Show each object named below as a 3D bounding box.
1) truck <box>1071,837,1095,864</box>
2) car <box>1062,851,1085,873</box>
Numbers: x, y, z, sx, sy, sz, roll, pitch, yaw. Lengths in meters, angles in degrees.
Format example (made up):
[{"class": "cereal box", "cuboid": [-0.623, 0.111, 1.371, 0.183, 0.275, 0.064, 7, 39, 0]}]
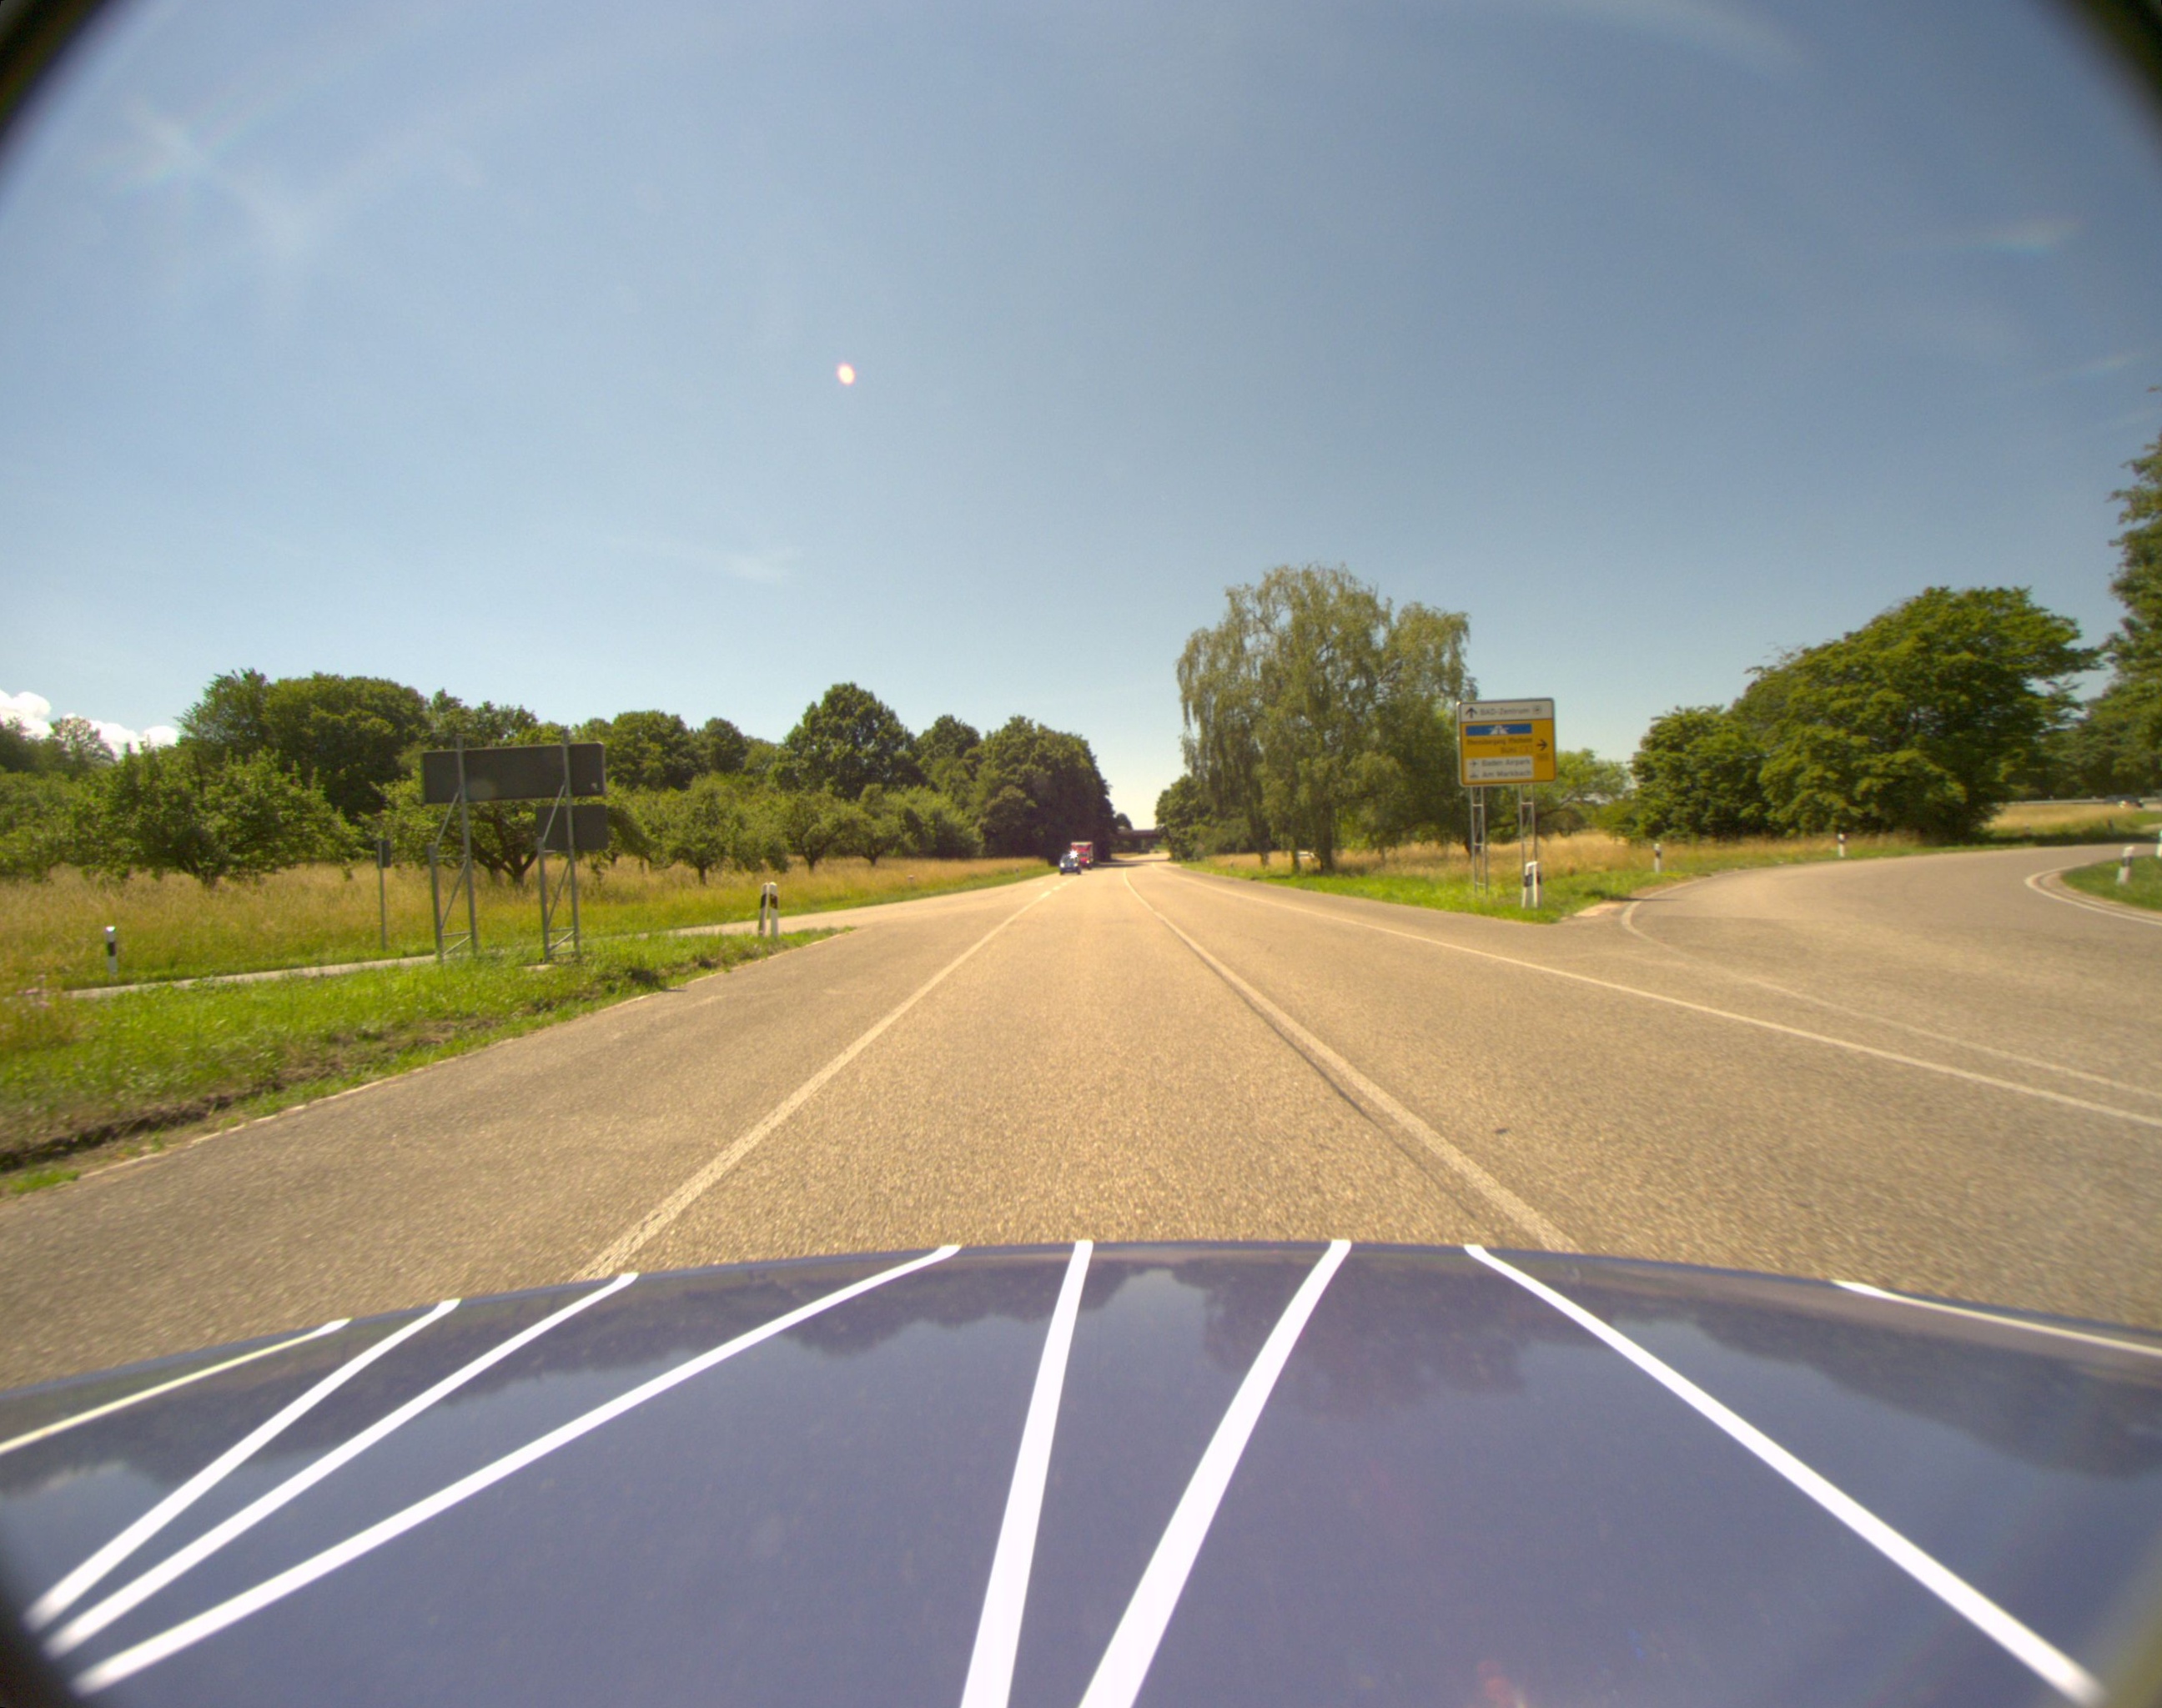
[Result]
[{"class": "truck", "cuboid": [0.286, -0.388, 87.644, 2.457, 2.927, 6.973, -1, 1, 1]}, {"class": "car", "cuboid": [-0.656, 0.680, 66.132, 1.746, 1.833, 4.000, -2, 1, 2]}]
